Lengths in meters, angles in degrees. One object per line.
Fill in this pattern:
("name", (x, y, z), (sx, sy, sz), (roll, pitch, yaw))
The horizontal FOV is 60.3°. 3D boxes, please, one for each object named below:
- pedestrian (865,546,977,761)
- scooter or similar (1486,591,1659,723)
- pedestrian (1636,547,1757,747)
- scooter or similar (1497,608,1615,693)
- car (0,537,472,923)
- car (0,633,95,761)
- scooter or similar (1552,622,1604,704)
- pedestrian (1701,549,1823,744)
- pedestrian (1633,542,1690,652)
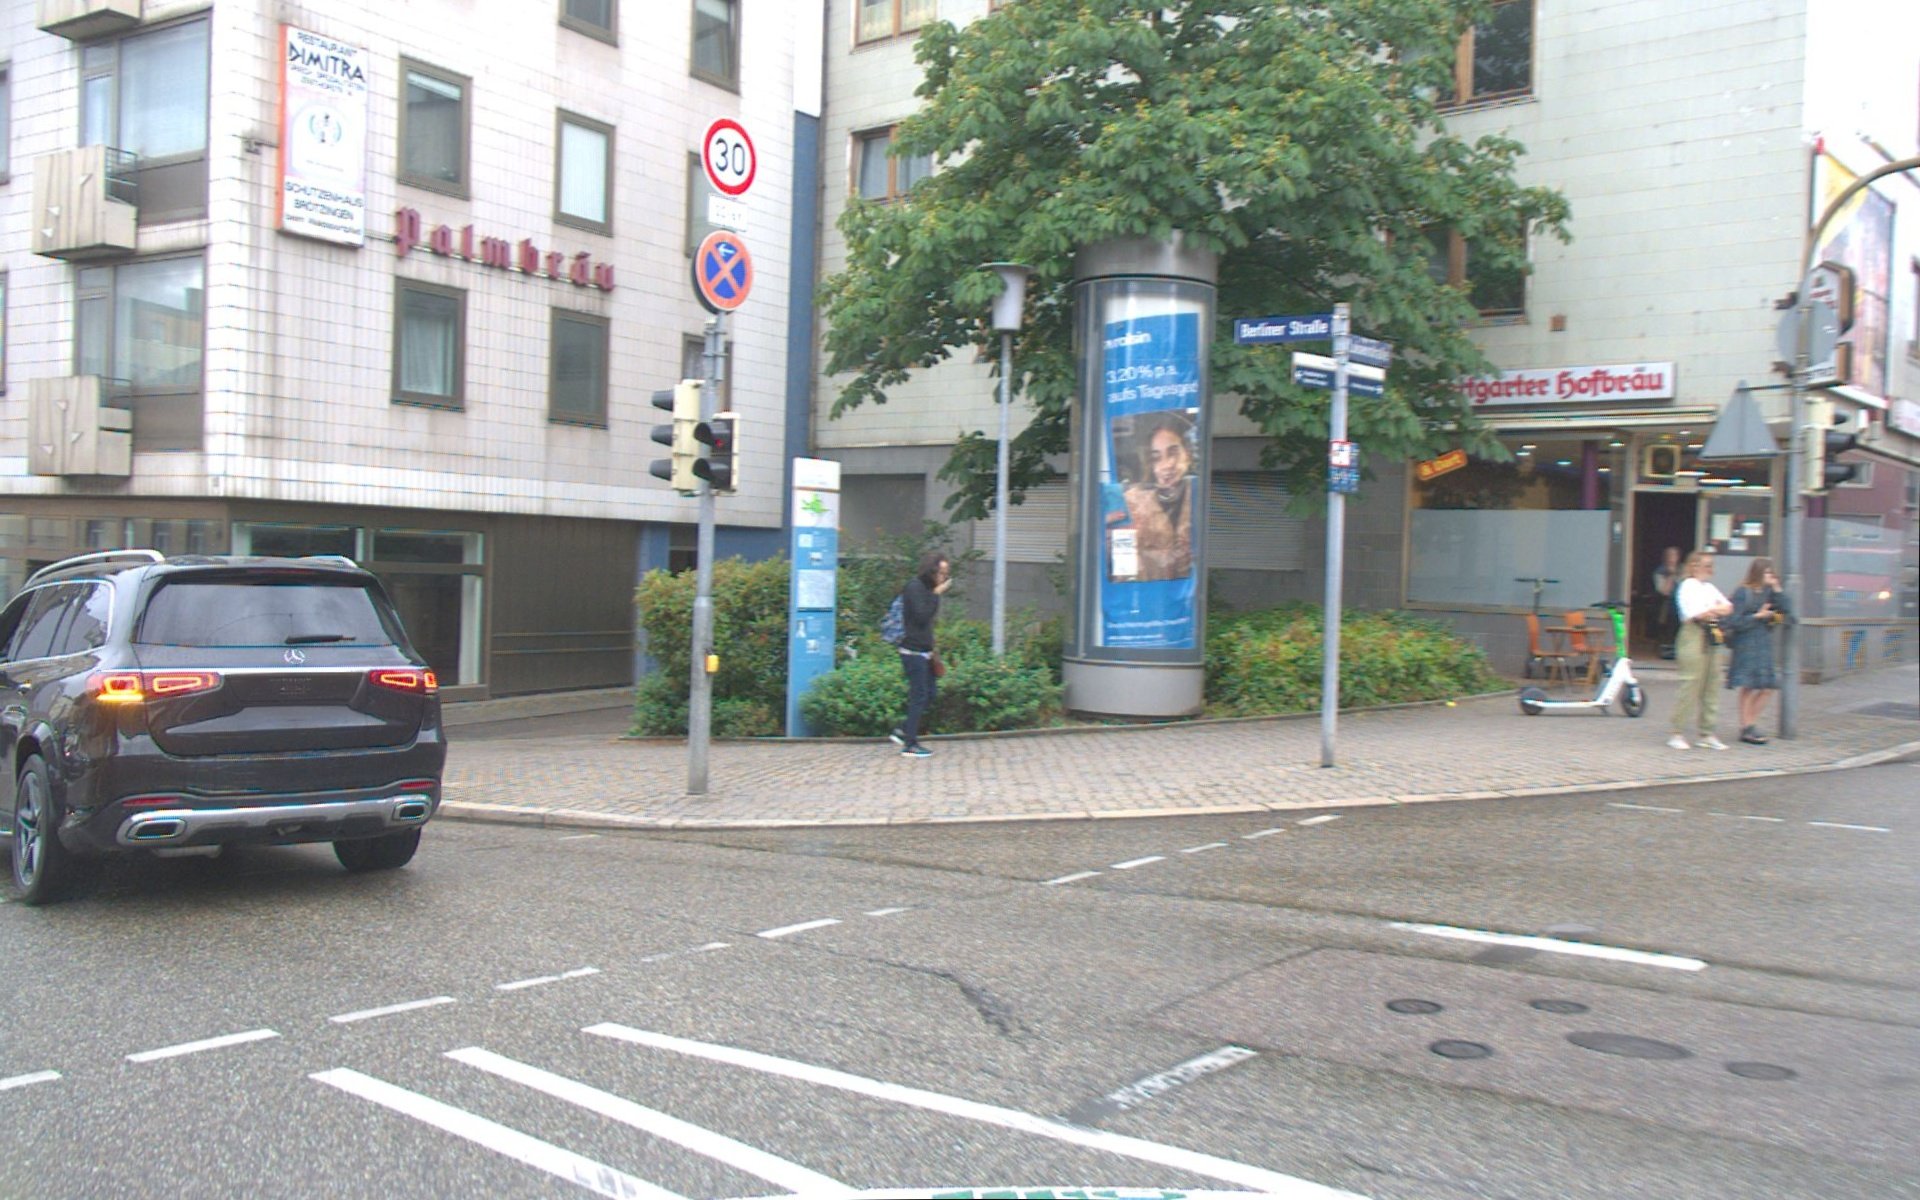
("pedestrian", (-0.363, 0.444, 14.854), (0.741, 1.849, 0.912), (-1, 2, -20))
("scooter or similar", (6.173, 0.564, 16.726), (1.523, 1.211, 0.501), (4, 0, 12))
("pedestrian", (6.467, 0.393, 14.558), (0.693, 1.675, 0.760), (2, 3, 5))
("scooter or similar", (6.692, 0.556, 18.627), (0.538, 0.857, 1.462), (3, 0, -11))
("car", (-4.897, 0.696, 10.062), (2.009, 1.770, 4.677), (1, -3, -40))
("car", (-12.713, 1.198, 20.432), (4.288, 1.416, 1.764), (-2, 1, 34))
("scooter or similar", (6.922, 0.690, 18.549), (0.449, 0.857, 1.323), (4, 0, 18))
("pedestrian", (7.227, 0.398, 14.932), (0.693, 1.675, 0.760), (2, 3, 5))
("pedestrian", (9.441, -0.038, 22.258), (0.510, 1.424, 0.576), (4, 0, 38))
